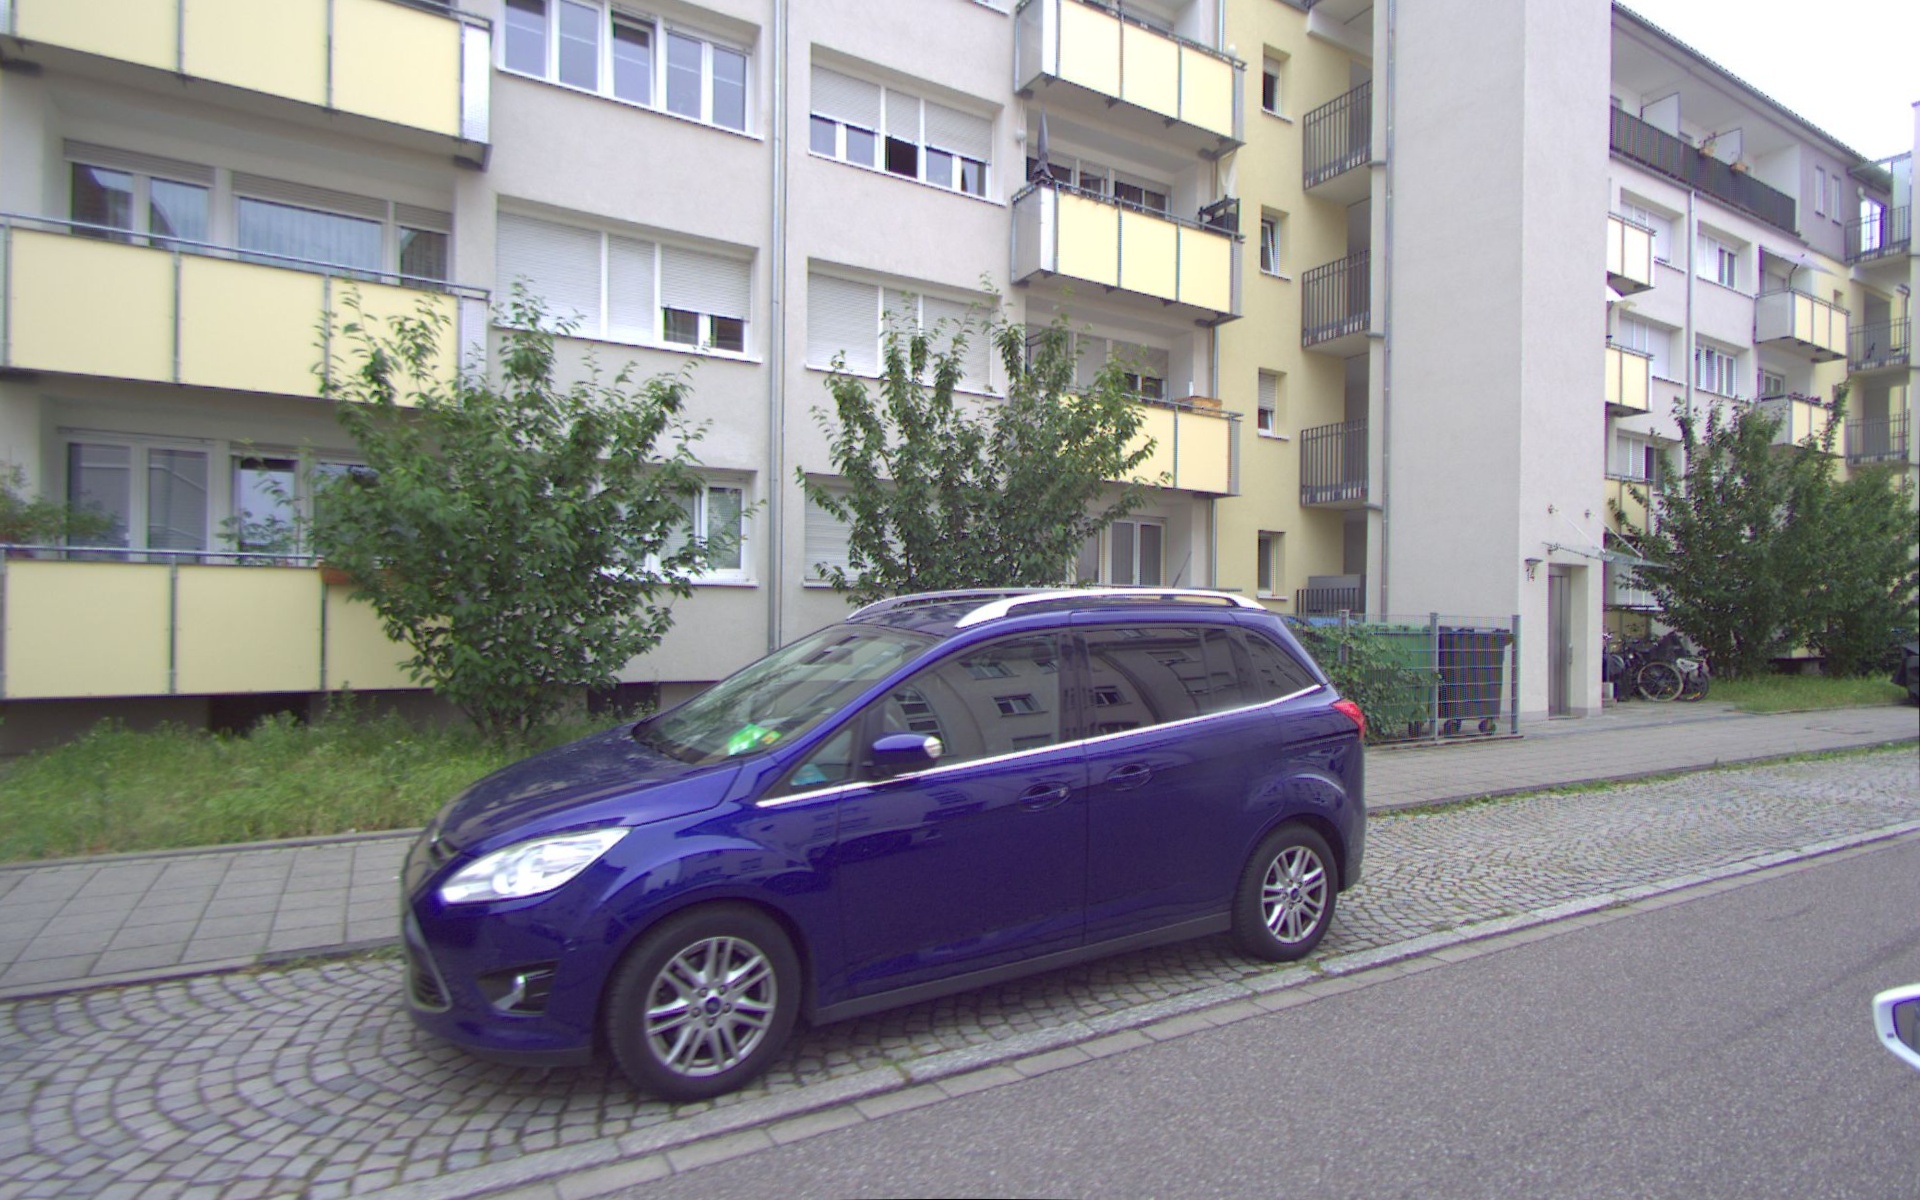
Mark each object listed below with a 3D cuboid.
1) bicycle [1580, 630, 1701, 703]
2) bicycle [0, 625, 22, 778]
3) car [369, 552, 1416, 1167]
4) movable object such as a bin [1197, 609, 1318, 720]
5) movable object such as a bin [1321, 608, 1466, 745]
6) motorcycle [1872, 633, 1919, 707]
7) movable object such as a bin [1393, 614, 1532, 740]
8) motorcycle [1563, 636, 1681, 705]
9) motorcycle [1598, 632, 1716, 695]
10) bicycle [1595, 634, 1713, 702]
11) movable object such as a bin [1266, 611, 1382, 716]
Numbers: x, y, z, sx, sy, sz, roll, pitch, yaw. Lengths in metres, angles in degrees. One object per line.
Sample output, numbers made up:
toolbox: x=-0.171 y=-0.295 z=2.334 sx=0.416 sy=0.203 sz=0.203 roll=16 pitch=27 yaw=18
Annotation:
bicycle: x=12.291 y=1.170 z=18.187 sx=0.602 sy=1.241 sz=1.712 roll=1 pitch=-1 yaw=-34
bicycle: x=-7.338 y=0.756 z=7.085 sx=0.709 sy=1.152 sz=1.842 roll=1 pitch=-1 yaw=-32
car: x=-0.113 y=0.722 z=4.595 sx=4.420 sy=1.648 sz=1.791 roll=1 pitch=0 yaw=-31
movable object such as a bin: x=4.193 y=0.877 z=14.172 sx=1.299 sy=1.466 sz=0.997 roll=1 pitch=0 yaw=-30
movable object such as a bin: x=5.157 y=0.874 z=11.966 sx=1.299 sy=1.520 sz=0.997 roll=1 pitch=0 yaw=-30
motorcycle: x=18.502 y=1.307 z=19.213 sx=2.391 sy=1.324 sz=0.865 roll=1 pitch=1 yaw=-30
movable object such as a bin: x=6.306 y=0.933 z=12.623 sx=1.299 sy=1.466 sz=0.997 roll=1 pitch=0 yaw=-30
motorcycle: x=11.691 y=1.215 z=17.770 sx=0.683 sy=1.144 sz=1.606 roll=1 pitch=-2 yaw=-33
motorcycle: x=13.215 y=1.179 z=19.087 sx=0.587 sy=1.144 sz=1.738 roll=1 pitch=-2 yaw=-34
bicycle: x=12.796 y=1.224 z=18.566 sx=0.602 sy=1.157 sz=1.712 roll=1 pitch=-1 yaw=-34
movable object such as a bin: x=5.394 y=0.910 z=14.910 sx=1.299 sy=1.466 sz=0.997 roll=1 pitch=0 yaw=-30
